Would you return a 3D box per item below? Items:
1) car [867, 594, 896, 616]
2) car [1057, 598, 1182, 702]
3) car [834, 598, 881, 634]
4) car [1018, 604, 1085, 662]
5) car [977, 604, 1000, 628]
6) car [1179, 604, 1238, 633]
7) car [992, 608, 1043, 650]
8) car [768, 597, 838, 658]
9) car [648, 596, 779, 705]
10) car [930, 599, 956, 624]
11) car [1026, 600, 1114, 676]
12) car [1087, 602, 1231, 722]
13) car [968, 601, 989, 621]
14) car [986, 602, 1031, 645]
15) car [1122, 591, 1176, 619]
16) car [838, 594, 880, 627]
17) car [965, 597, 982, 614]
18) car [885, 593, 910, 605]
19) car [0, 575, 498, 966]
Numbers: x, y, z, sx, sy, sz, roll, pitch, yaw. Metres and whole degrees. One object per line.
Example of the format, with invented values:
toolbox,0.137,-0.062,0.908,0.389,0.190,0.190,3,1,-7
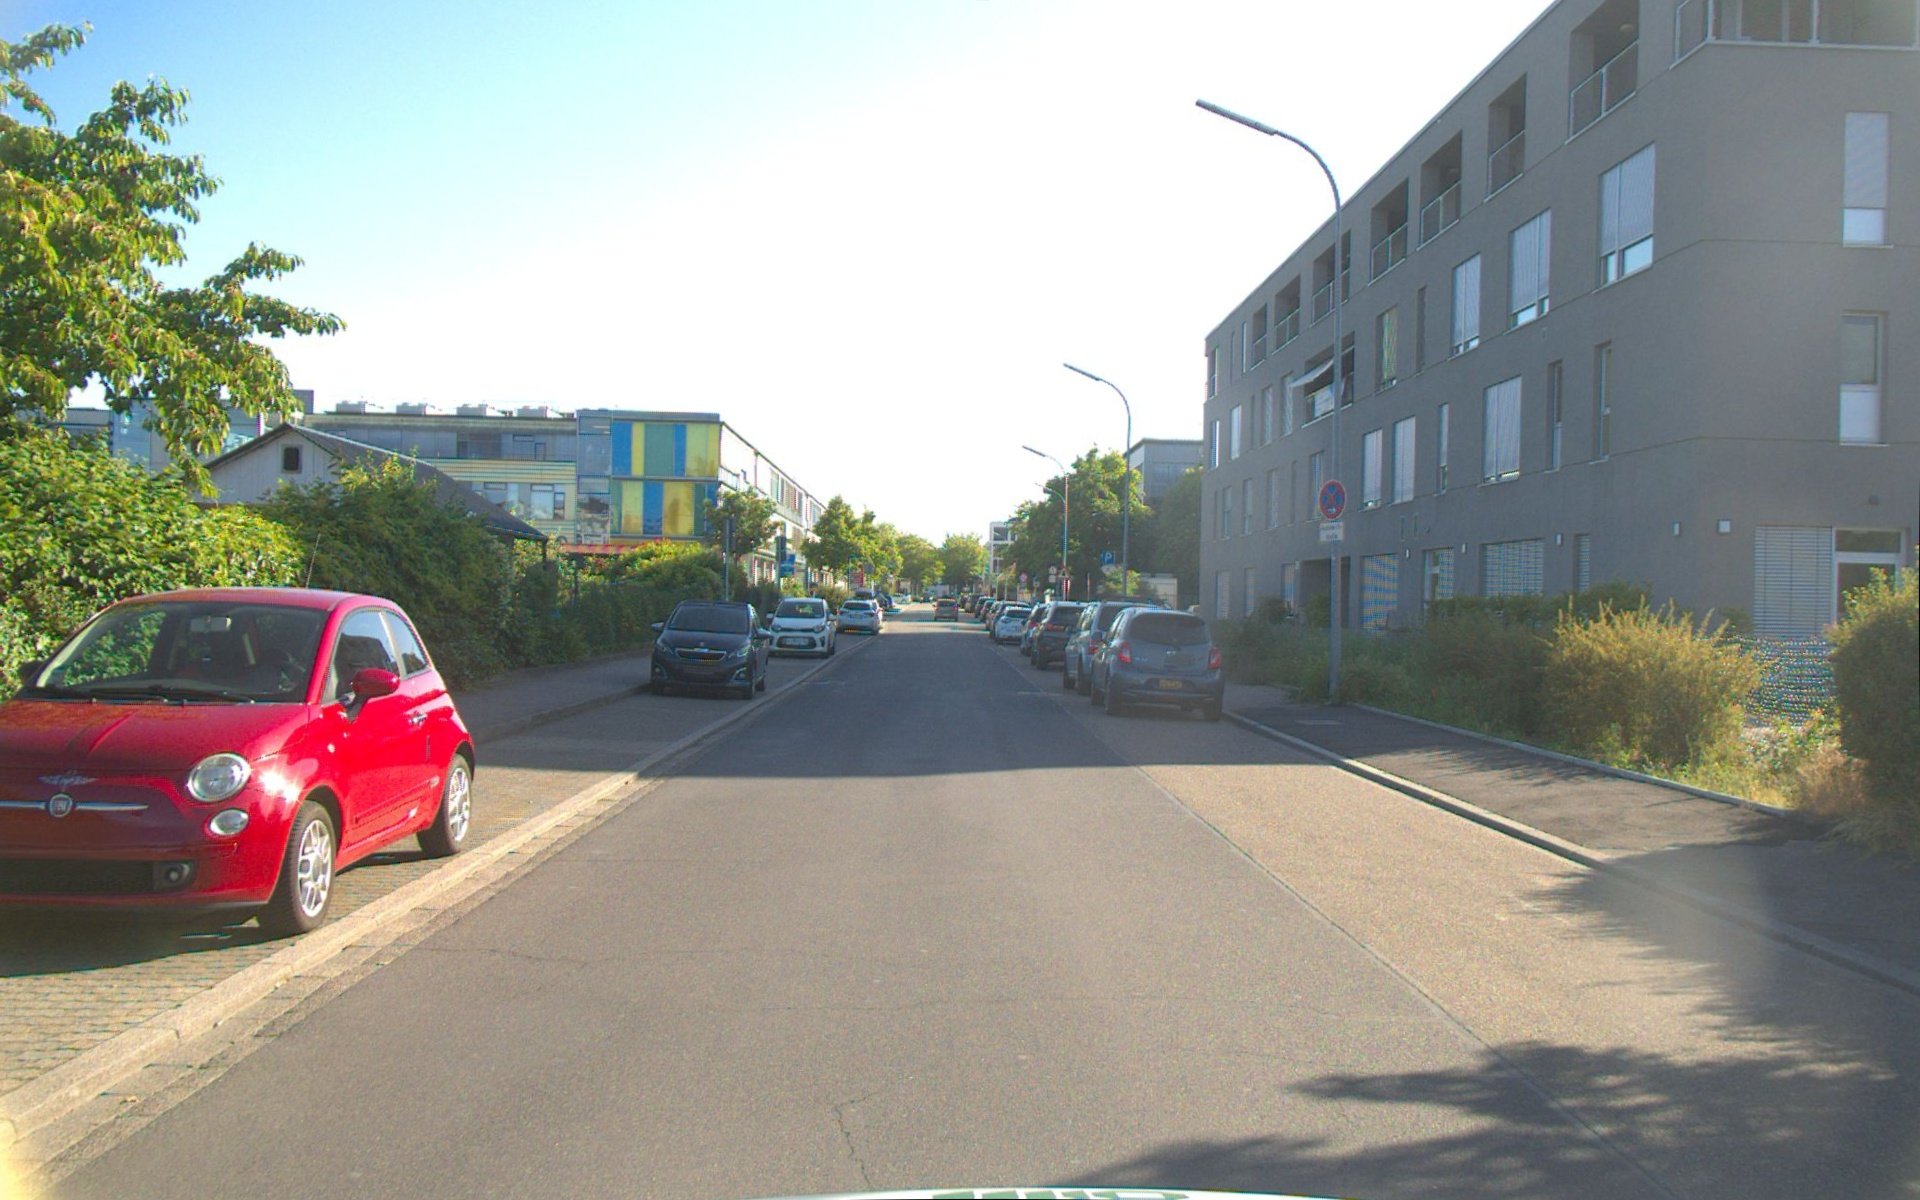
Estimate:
car,-6.254,0.390,132.034,1.816,1.590,4.136,3,0,4
car,2.792,0.842,29.771,1.643,1.636,4.177,4,0,-2
car,-4.485,0.701,72.800,1.817,1.453,4.133,3,0,-1
car,2.685,0.952,49.050,1.624,1.578,3.849,3,0,-1
car,2.050,1.132,118.615,1.416,1.576,3.613,3,0,-2
car,14.233,1.060,94.908,3.149,1.486,1.450,3,0,2
car,2.192,1.102,63.983,1.706,1.453,4.133,3,0,-1
car,-4.083,0.700,43.429,1.528,1.521,3.757,1,0,-1
car,-3.859,0.756,26.388,1.528,1.520,3.569,4,0,-1
car,-1.175,0.775,114.491,1.655,1.576,3.613,3,0,-2
car,2.610,0.874,40.053,1.706,1.653,4.177,3,0,-1
car,2.896,0.862,24.758,1.589,1.553,3.901,4,0,0
car,1.496,0.872,134.611,1.416,1.576,3.613,3,0,-2
car,2.043,0.976,69.990,1.600,1.659,3.613,3,0,-2
car,11.749,0.304,102.859,3.149,1.576,1.450,3,0,2
car,-4.863,0.513,80.144,1.817,1.453,4.133,3,0,-1
car,1.329,0.521,160.018,1.416,1.576,3.613,3,0,-2
car,-9.359,-0.138,247.265,3.533,1.576,1.448,3,0,-6
car,-3.565,0.671,8.277,1.528,1.521,3.569,1,0,-1
